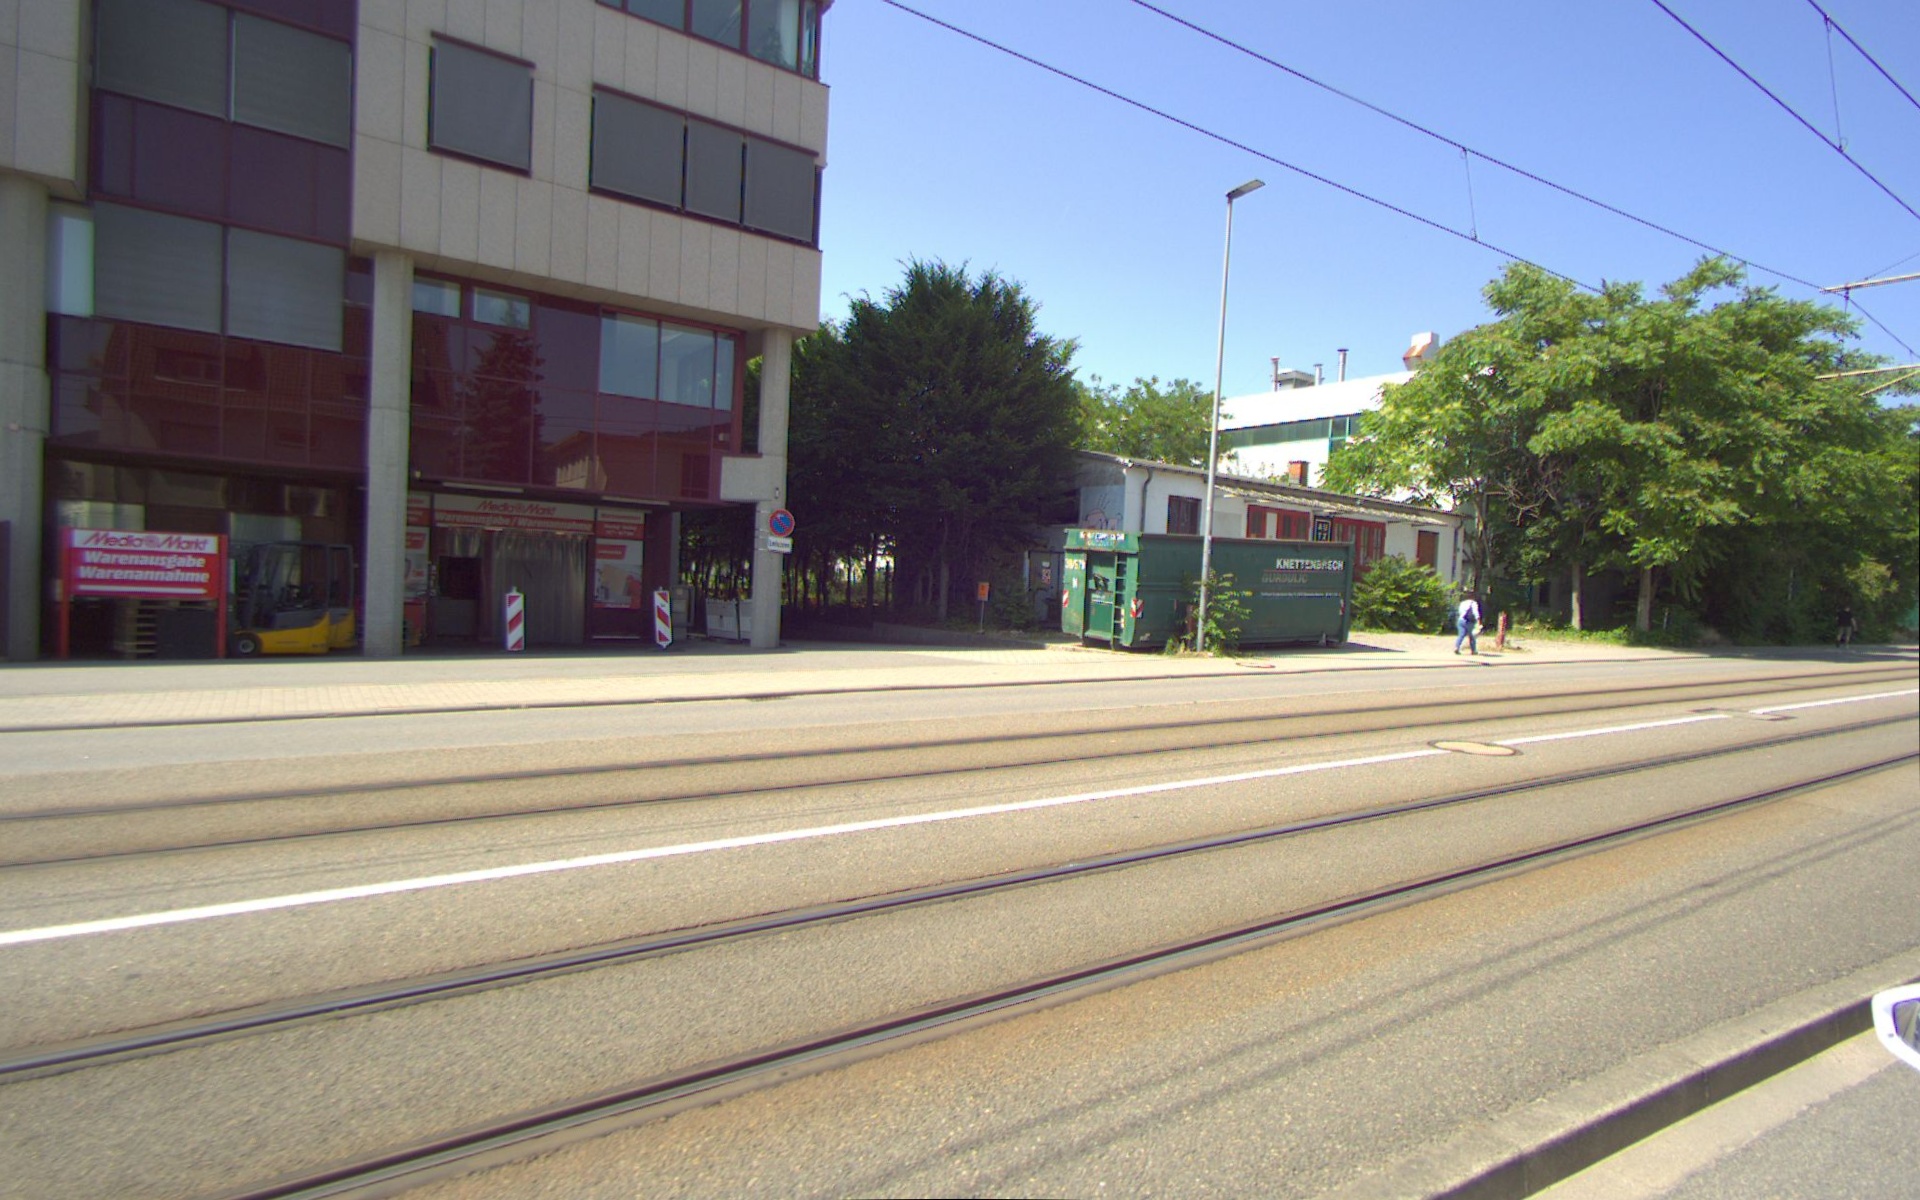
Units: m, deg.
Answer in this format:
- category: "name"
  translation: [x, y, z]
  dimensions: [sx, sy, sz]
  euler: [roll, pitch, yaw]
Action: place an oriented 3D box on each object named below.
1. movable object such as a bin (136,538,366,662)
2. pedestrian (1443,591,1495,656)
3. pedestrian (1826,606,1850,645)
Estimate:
- category: "movable object such as a bin"
  translation: [-12.921, 0.000, 18.381]
  dimensions: [1.971, 2.040, 3.066]
  euler: [2, 1, 42]
- category: "pedestrian"
  translation: [12.602, 0.577, 24.877]
  dimensions: [0.830, 1.558, 0.829]
  euler: [1, 1, -35]
- category: "pedestrian"
  translation: [36.274, 1.044, 41.508]
  dimensions: [0.650, 1.558, 0.580]
  euler: [1, 1, -35]
